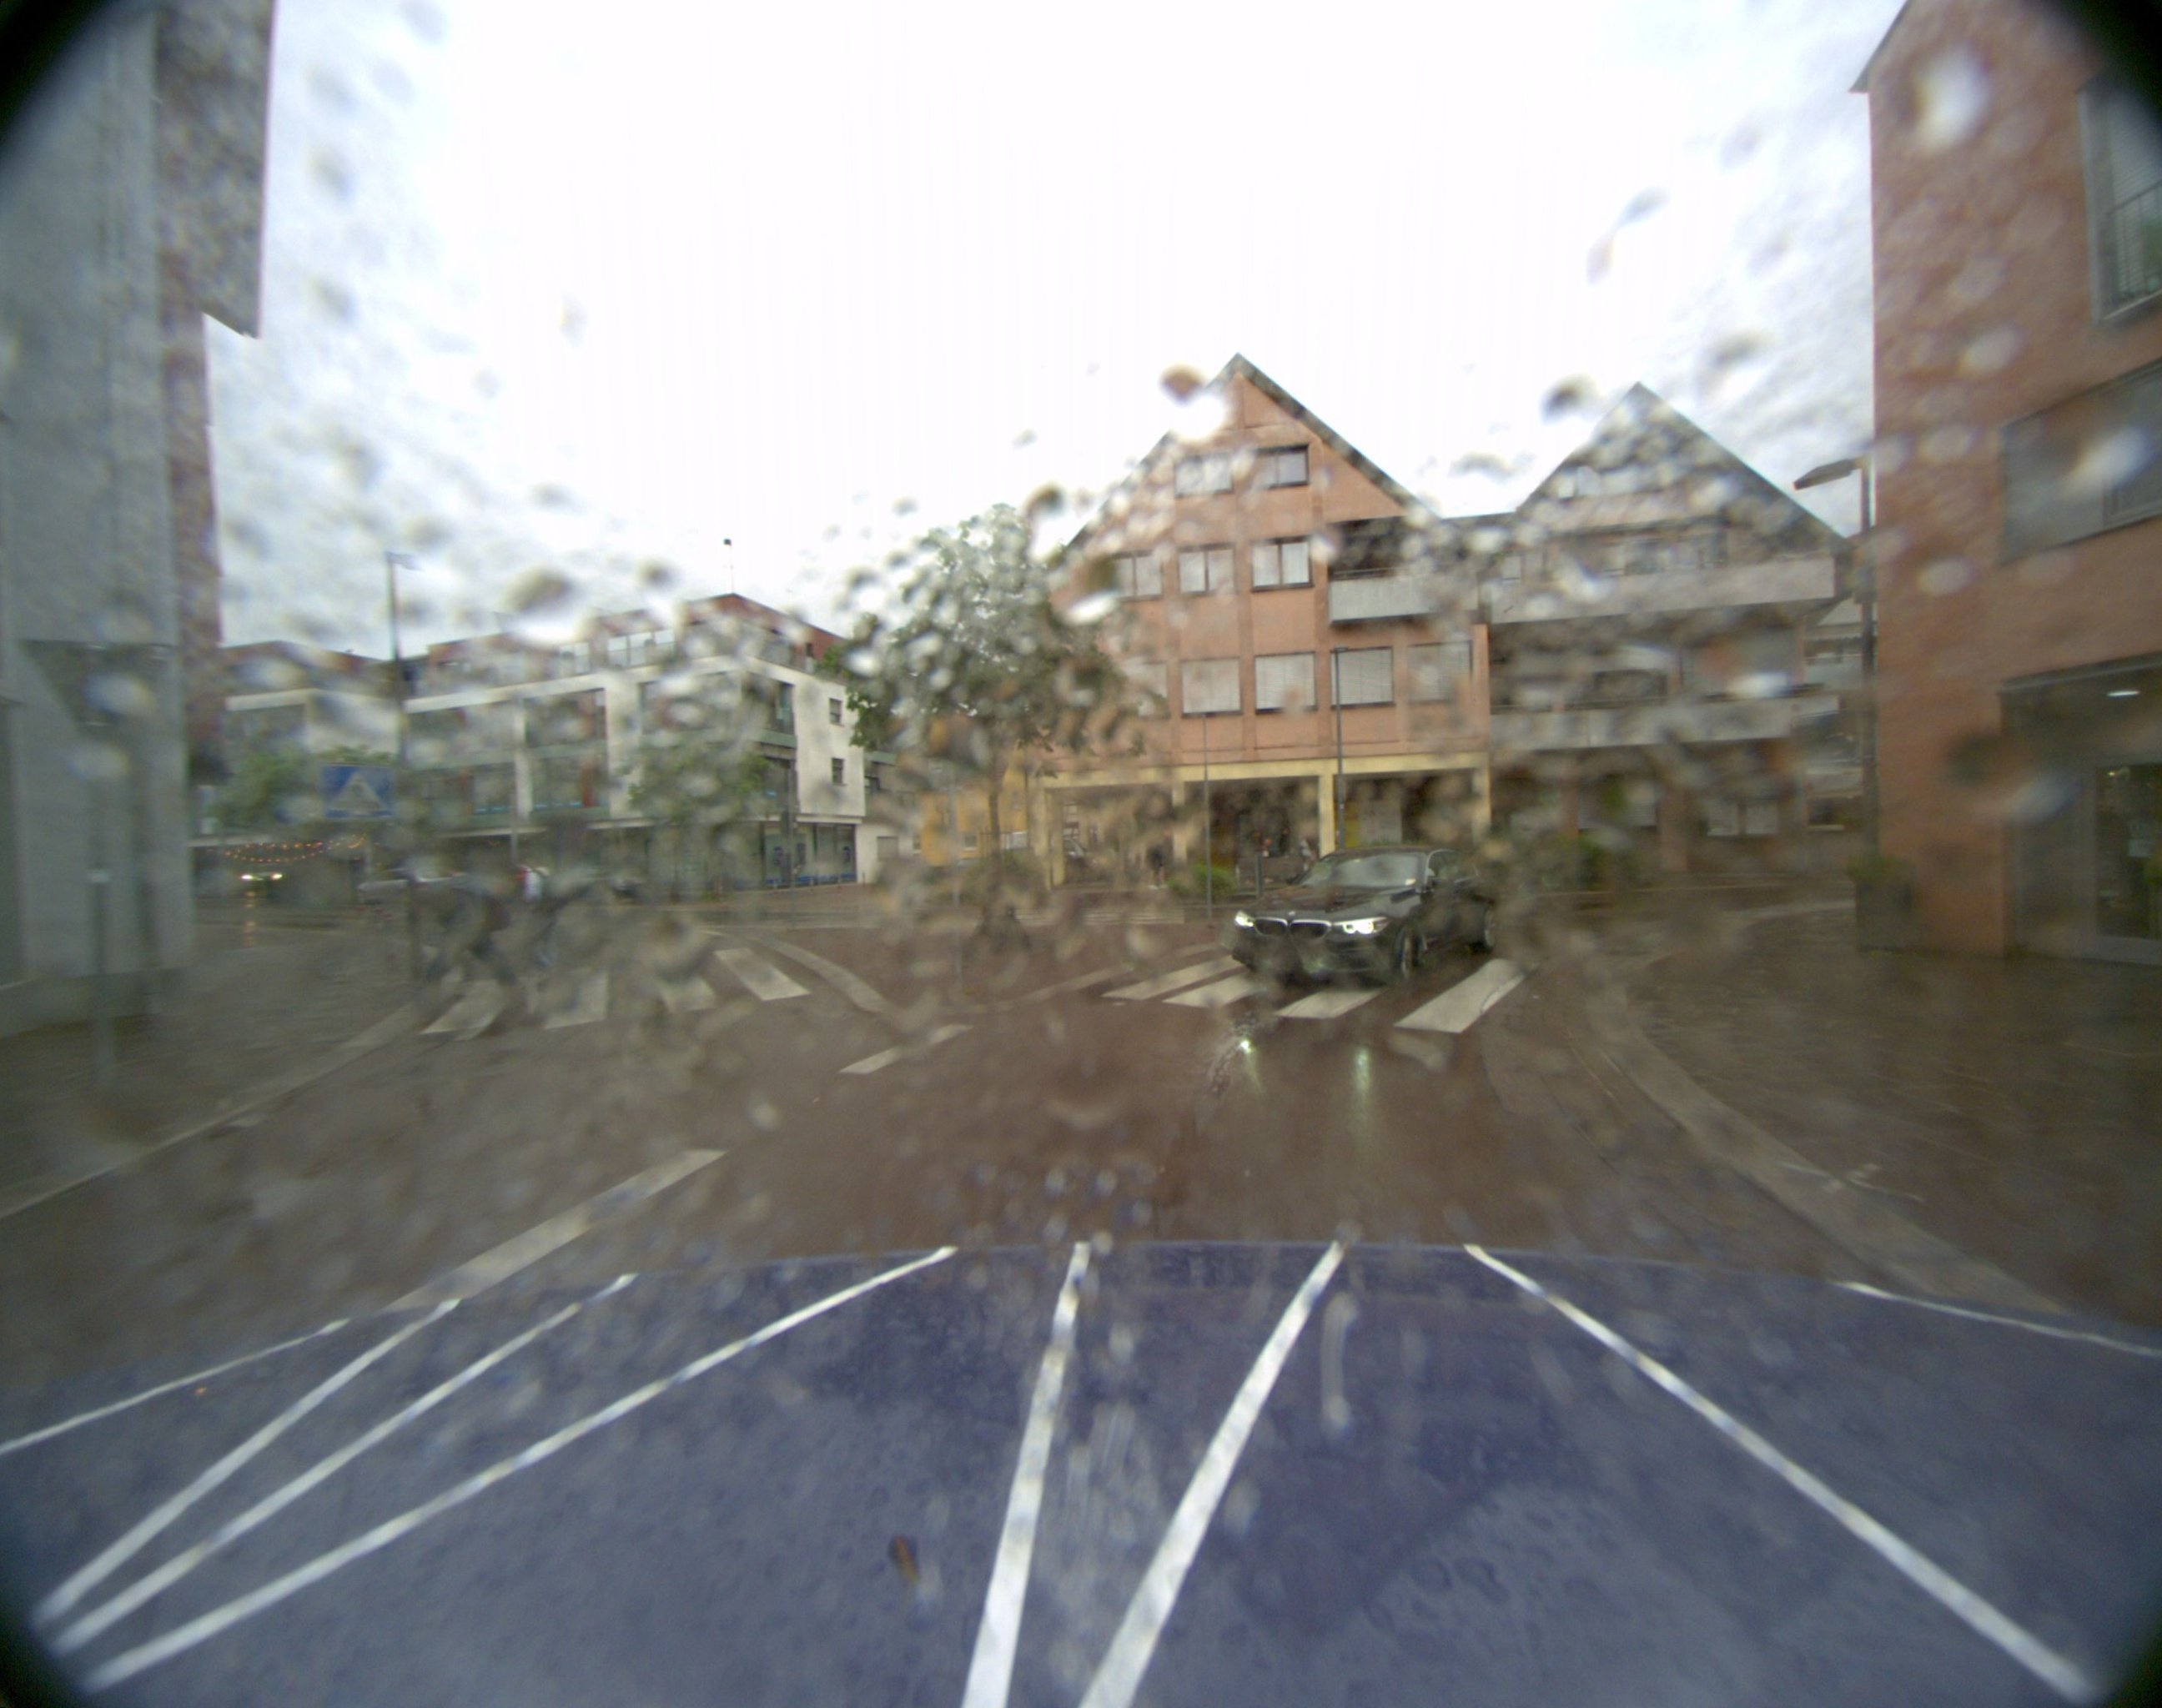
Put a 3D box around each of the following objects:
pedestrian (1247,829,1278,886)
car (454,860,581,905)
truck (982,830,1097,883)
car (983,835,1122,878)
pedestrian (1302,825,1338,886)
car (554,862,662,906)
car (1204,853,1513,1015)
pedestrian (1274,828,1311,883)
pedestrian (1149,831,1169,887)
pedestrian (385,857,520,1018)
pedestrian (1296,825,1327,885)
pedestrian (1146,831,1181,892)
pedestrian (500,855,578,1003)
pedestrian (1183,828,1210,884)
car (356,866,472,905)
[{"bbox_3d":[5.273,0.089,22.049,0.824,1.596,0.745,-1,4,14],"label":"pedestrian"},{"bbox_3d":[-21.620,1.085,29.187,3.993,1.493,1.630,-2,4,14],"label":"car"},{"bbox_3d":[-1.544,0.074,28.856,3.994,1.798,1.769,-2,2,10],"label":"truck"},{"bbox_3d":[-0.949,0.082,26.252,4.465,1.268,1.769,-2,1,10],"label":"car"},{"bbox_3d":[6.694,0.029,21.330,0.820,1.652,0.698,-2,2,10],"label":"pedestrian"},{"bbox_3d":[-17.050,1.051,27.397,3.365,1.355,1.543,1,3,21],"label":"car"},{"bbox_3d":[3.630,0.758,9.428,1.943,1.394,4.428,1,2,44],"label":"car"},{"bbox_3d":[6.351,0.041,22.861,0.798,1.610,0.706,-4,2,-42],"label":"pedestrian"},{"bbox_3d":[2.370,0.142,23.012,0.520,1.654,0.542,-2,2,8],"label":"pedestrian"},{"bbox_3d":[-7.467,0.962,9.046,1.056,1.790,0.695,-2,2,19],"label":"pedestrian"},{"bbox_3d":[6.693,0.030,22.071,0.732,1.680,0.725,-2,2,11],"label":"pedestrian"},{"bbox_3d":[2.426,0.209,22.310,0.891,1.739,0.736,-2,2,10],"label":"pedestrian"},{"bbox_3d":[-7.124,0.935,9.968,0.666,1.796,1.058,-4,2,-39],"label":"pedestrian"},{"bbox_3d":[3.545,0.059,23.326,0.741,1.680,0.636,-2,2,11],"label":"pedestrian"},{"bbox_3d":[-26.972,1.268,30.755,3.991,1.406,1.622,-1,4,18],"label":"car"}]
